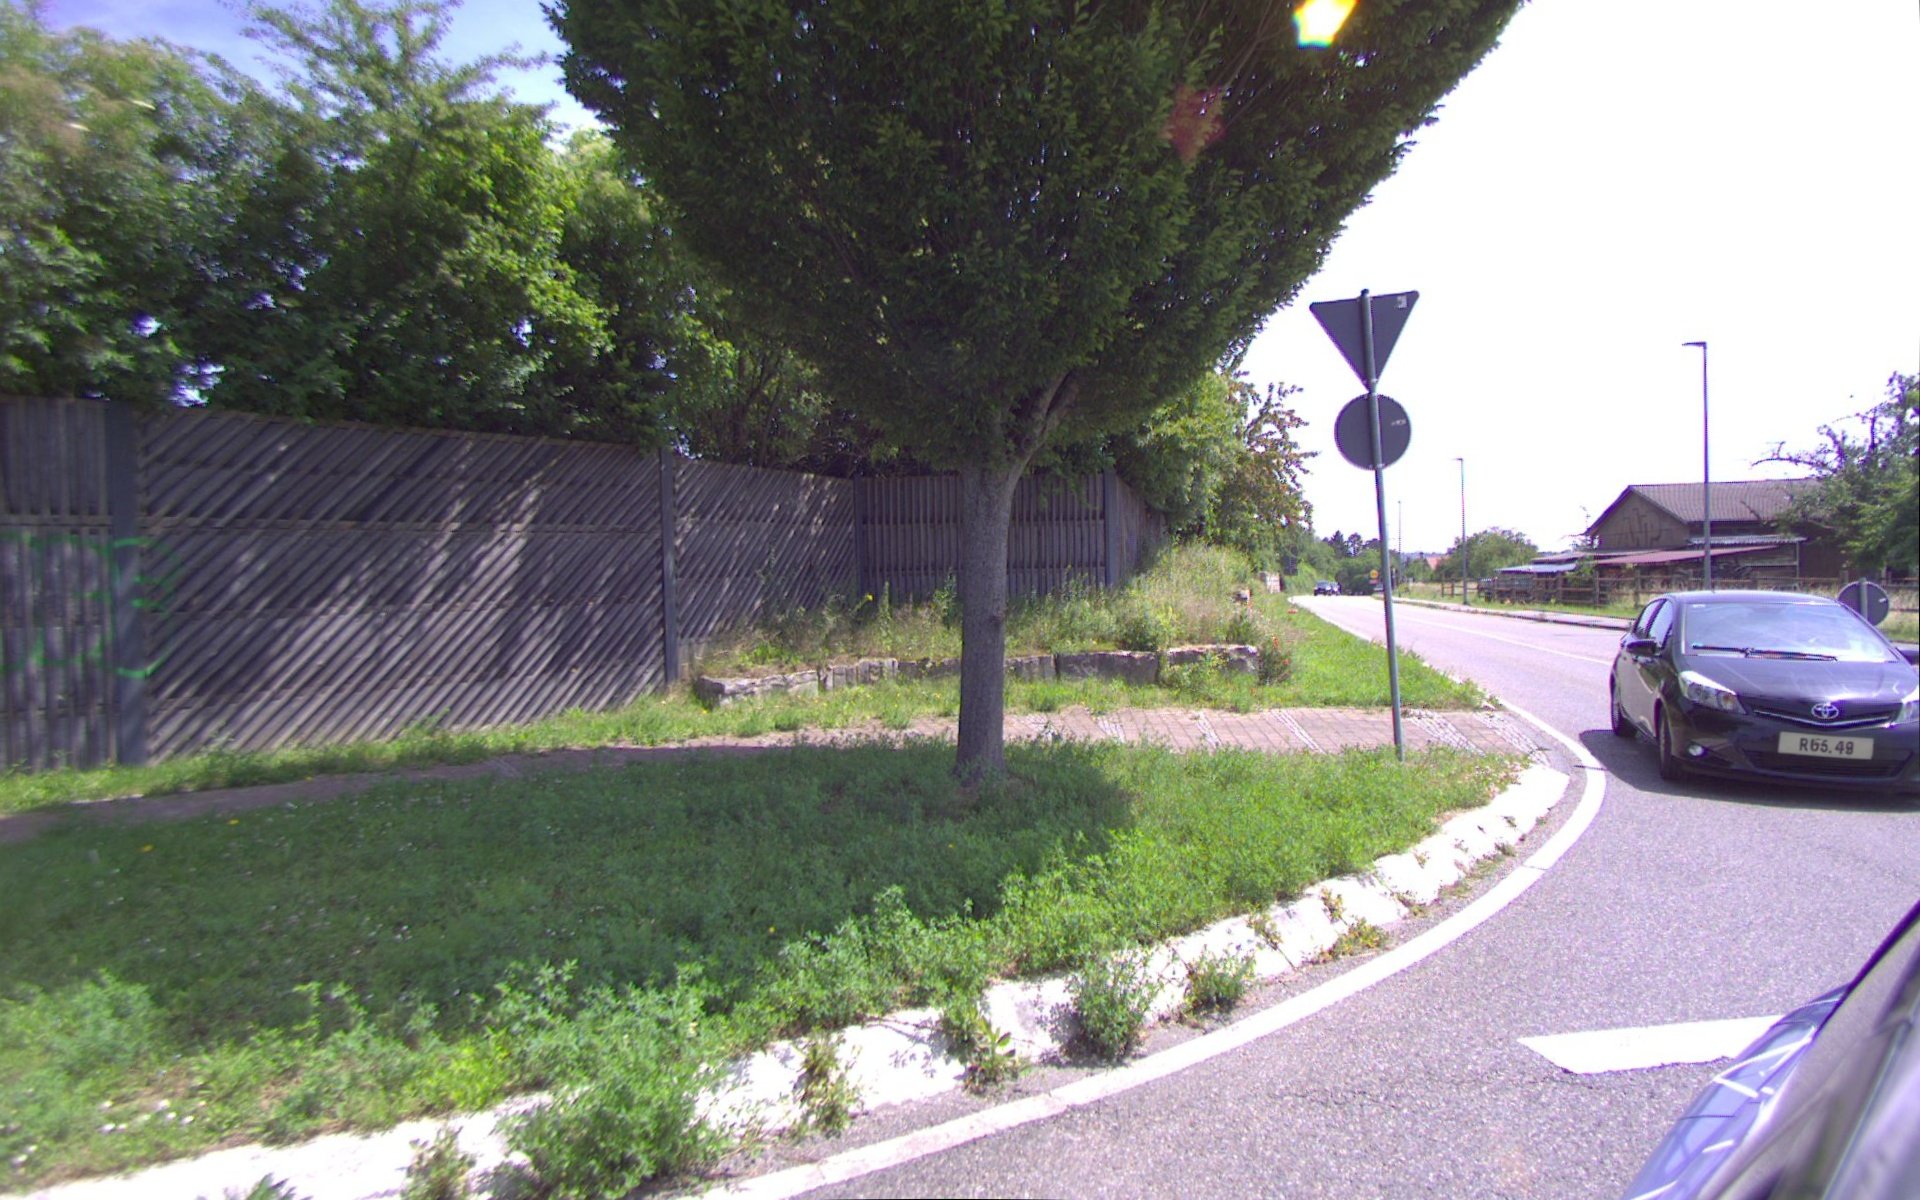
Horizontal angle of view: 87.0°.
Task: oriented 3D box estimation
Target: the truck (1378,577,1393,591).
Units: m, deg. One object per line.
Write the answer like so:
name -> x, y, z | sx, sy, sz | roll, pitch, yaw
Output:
truck -> 75.580, -2.839, 179.807 | 2.203, 2.322, 6.445 | 0, 1, 22

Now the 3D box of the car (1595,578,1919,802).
car -> 6.915, 0.555, 8.941 | 1.661, 1.483, 4.395 | 0, 1, 25

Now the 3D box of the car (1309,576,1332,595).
car -> 41.454, -1.644, 116.427 | 2.163, 2.039, 4.756 | -2, 0, 16

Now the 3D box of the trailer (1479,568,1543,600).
trailer -> 31.254, -0.937, 57.534 | 2.132, 1.724, 5.004 | 0, 1, 16
